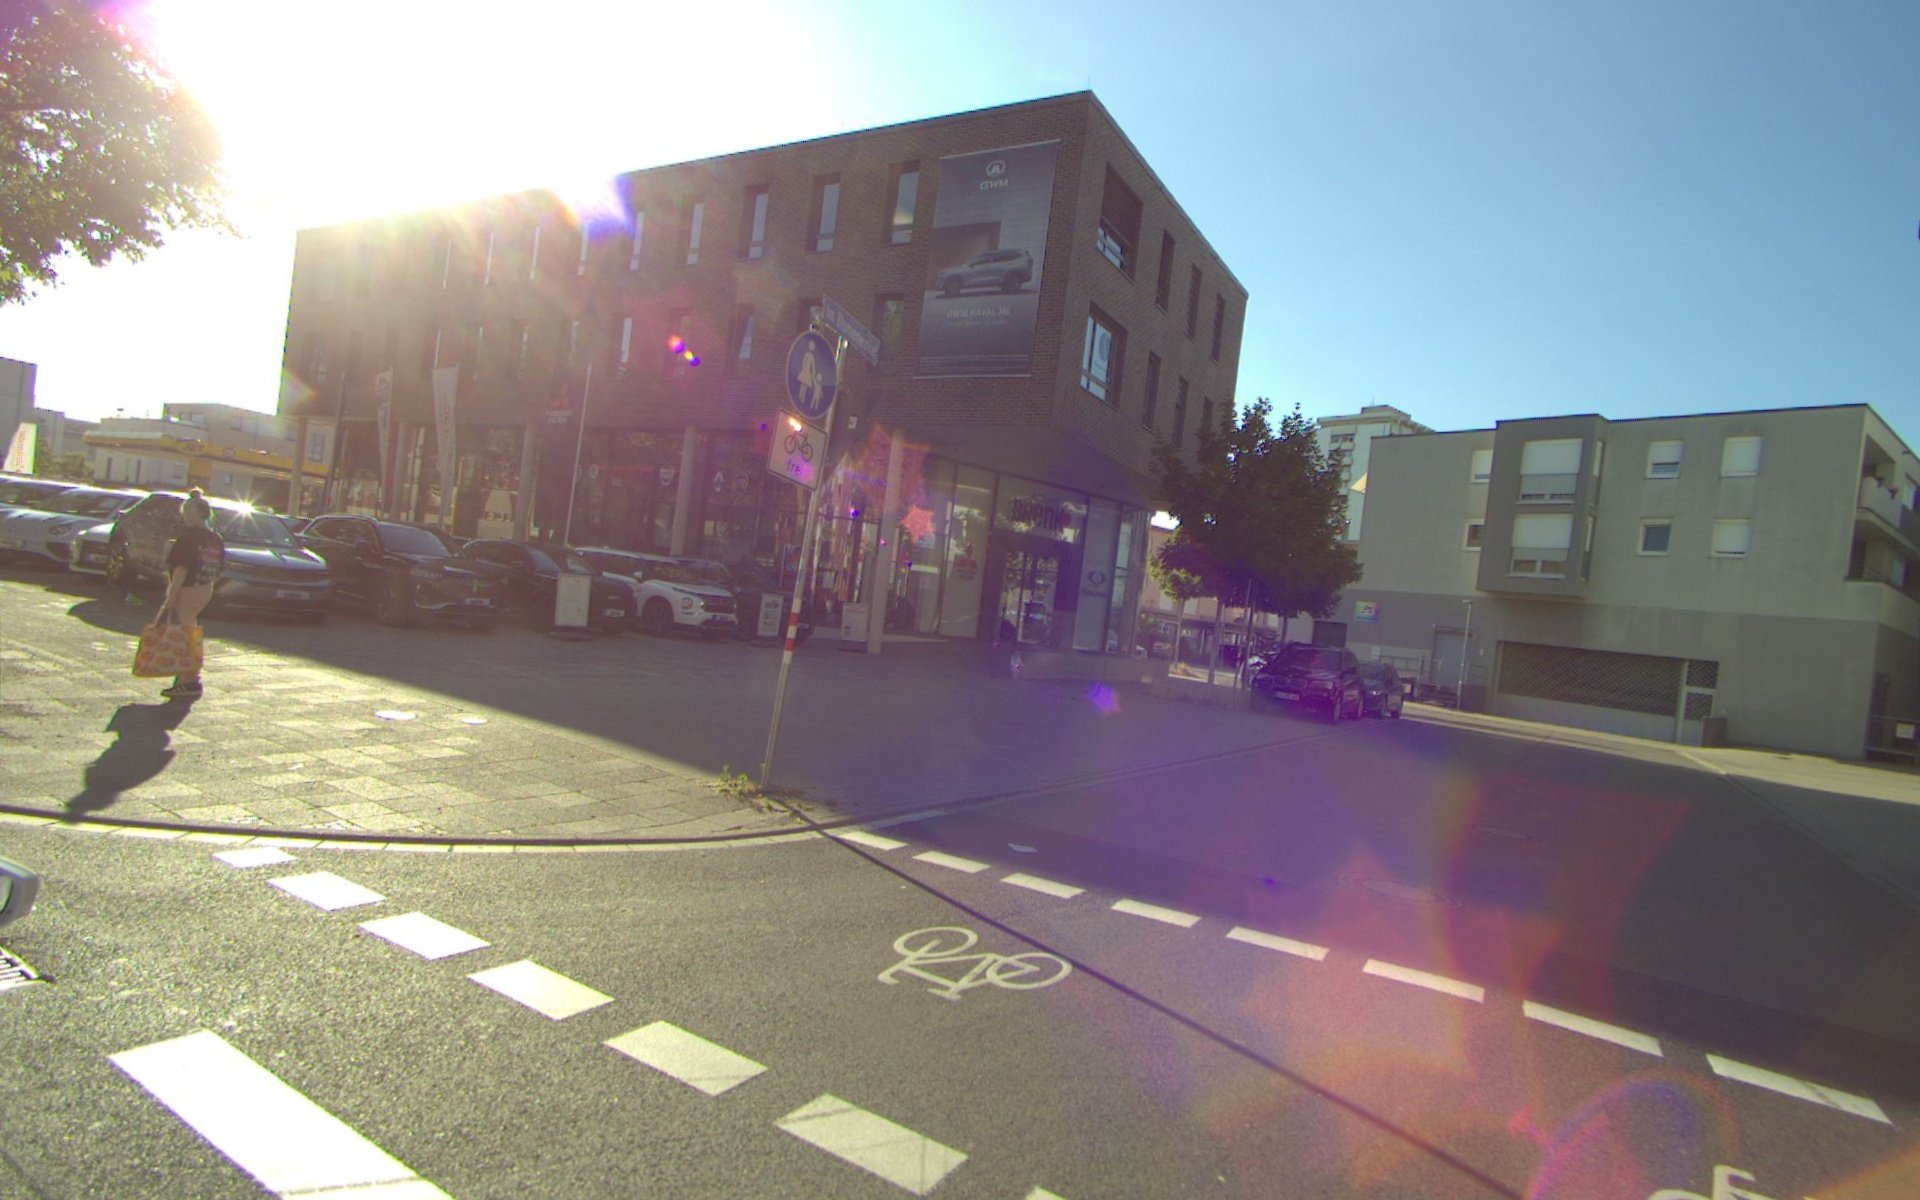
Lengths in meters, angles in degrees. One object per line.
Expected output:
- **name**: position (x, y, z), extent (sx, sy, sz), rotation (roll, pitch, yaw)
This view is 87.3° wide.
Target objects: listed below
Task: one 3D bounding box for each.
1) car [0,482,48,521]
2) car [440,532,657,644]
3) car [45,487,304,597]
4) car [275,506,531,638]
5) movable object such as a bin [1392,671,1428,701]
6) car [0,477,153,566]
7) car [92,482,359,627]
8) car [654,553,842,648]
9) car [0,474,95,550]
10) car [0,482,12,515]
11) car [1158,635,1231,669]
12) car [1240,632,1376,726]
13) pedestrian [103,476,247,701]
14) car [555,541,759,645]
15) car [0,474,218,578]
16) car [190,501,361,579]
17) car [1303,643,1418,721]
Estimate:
- **car**: position (-48.228, -5.070, 50.127), extent (1.806, 1.733, 3.838), rotation (7, 0, 5)
- **car**: position (-8.216, -0.249, 20.011), extent (4.109, 1.705, 1.730), rotation (7, 0, 30)
- **car**: position (-14.058, -0.958, 18.318), extent (1.632, 1.564, 3.818), rotation (7, 0, -1)
- **car**: position (-9.750, -0.504, 17.535), extent (4.294, 1.753, 1.828), rotation (7, 0, 30)
- **movable object such as a bin**: position (19.197, 3.681, 42.939), extent (0.979, 1.086, 0.912), rotation (7, 2, -36)
- **car**: position (-18.999, -1.631, 20.755), extent (1.710, 1.598, 3.814), rotation (7, 1, -5)
- **car**: position (-11.117, -0.709, 15.163), extent (4.089, 1.690, 1.754), rotation (7, 0, 32)
- **car**: position (-5.175, 0.007, 24.432), extent (4.112, 1.755, 1.987), rotation (7, 0, 33)
- **car**: position (-22.229, -2.098, 22.990), extent (1.715, 1.598, 3.814), rotation (7, 1, -5)
- **car**: position (-52.360, -5.582, 52.424), extent (1.806, 1.733, 3.839), rotation (7, 0, 14)
- **car**: position (14.564, 3.212, 62.570), extent (3.948, 1.641, 1.859), rotation (5, -2, 44)
- **car**: position (8.057, 1.757, 22.998), extent (1.996, 1.683, 4.489), rotation (8, 1, 30)
- **pedestrian**: position (-6.557, -0.092, 8.443), extent (0.685, 1.744, 0.717), rotation (6, 1, -27)
- **car**: position (-6.734, -0.169, 22.251), extent (4.109, 1.755, 1.878), rotation (7, 0, 30)
- **car**: position (-16.423, -1.352, 19.194), extent (1.710, 1.630, 3.816), rotation (7, 1, -3)
- **car**: position (-16.579, -1.388, 24.604), extent (1.613, 1.530, 3.816), rotation (7, 1, -3)
- **car**: position (10.958, 2.179, 27.349), extent (1.997, 1.683, 4.487), rotation (8, 1, 32)
